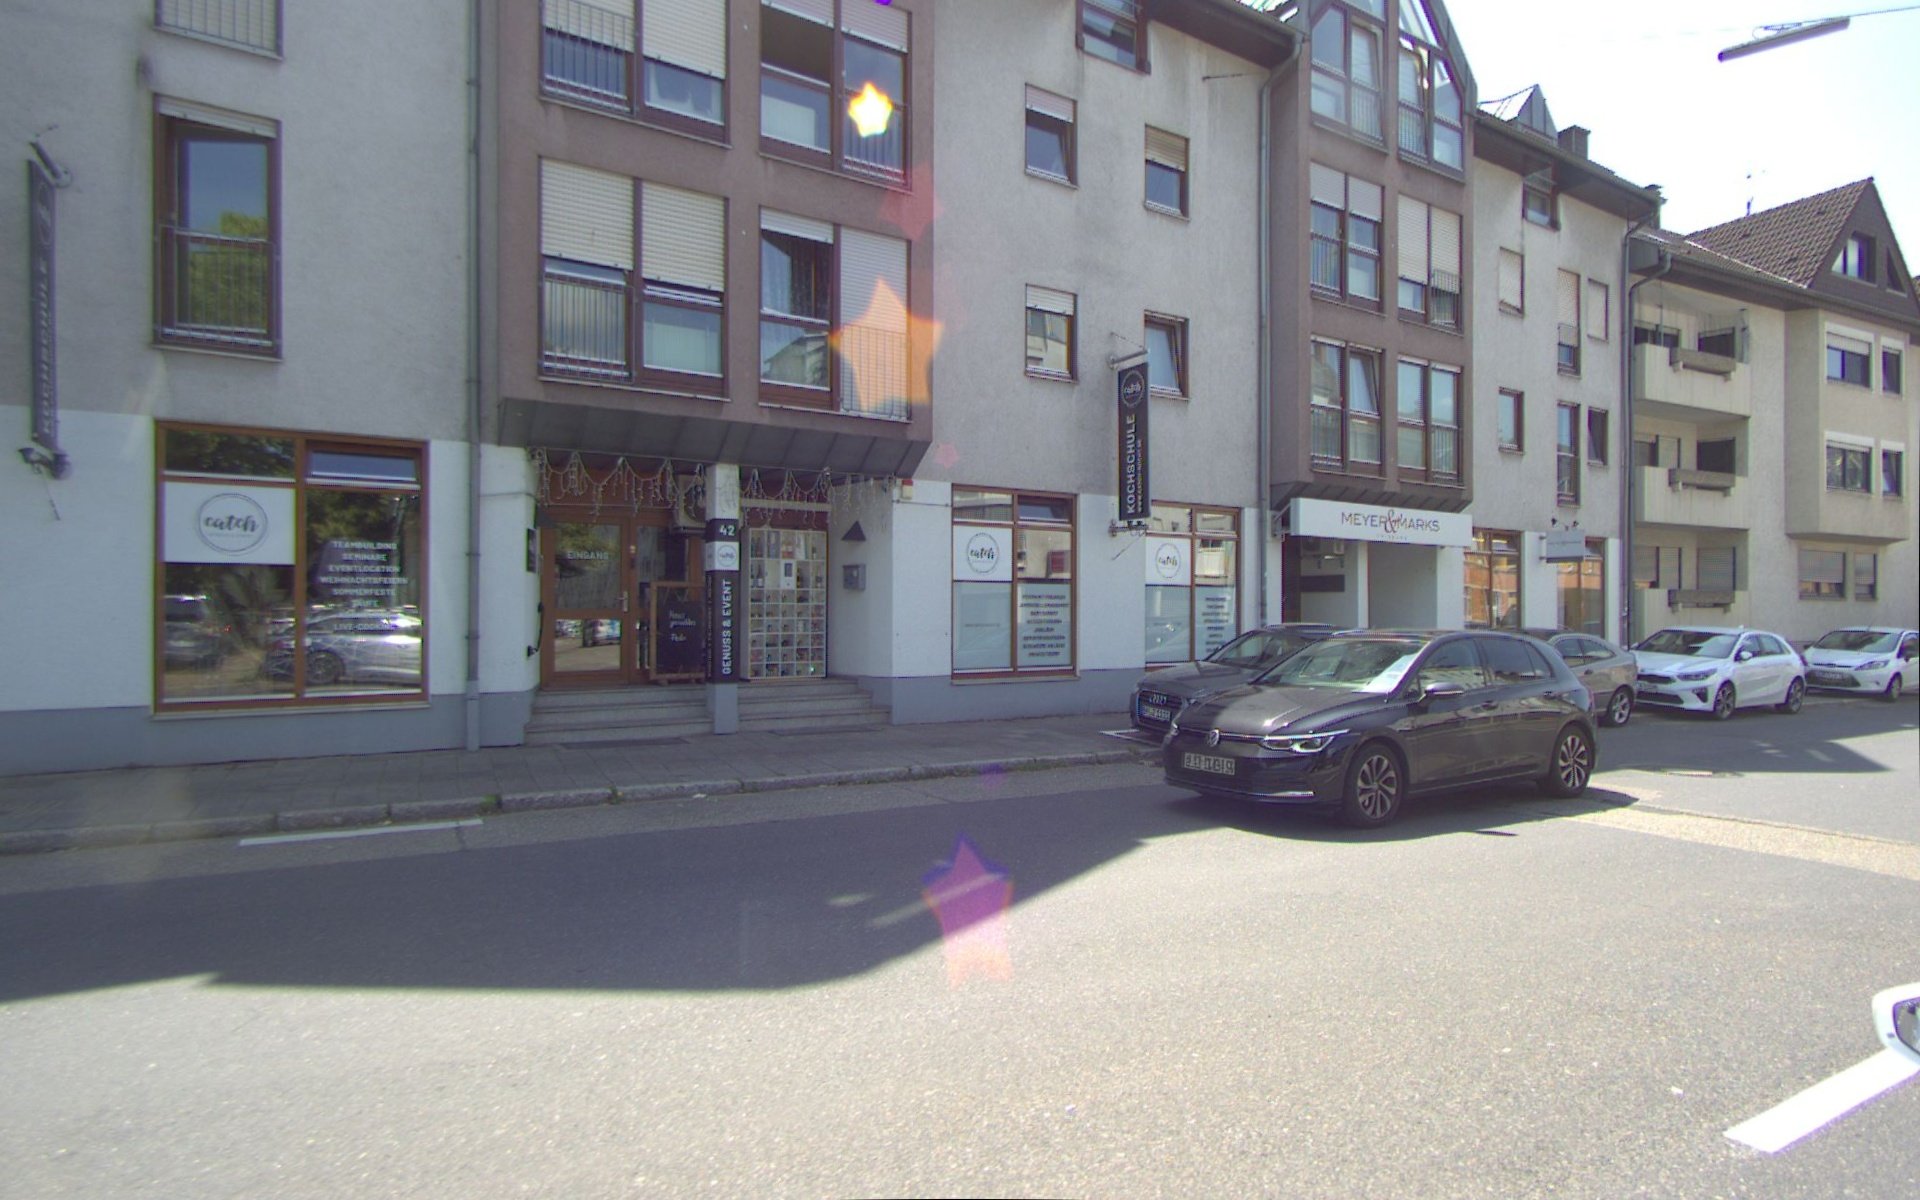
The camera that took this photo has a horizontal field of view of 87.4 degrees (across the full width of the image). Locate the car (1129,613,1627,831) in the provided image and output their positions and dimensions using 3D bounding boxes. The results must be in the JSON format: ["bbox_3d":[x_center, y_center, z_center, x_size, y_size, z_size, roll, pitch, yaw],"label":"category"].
[{"bbox_3d":[3.594,0.864,8.467,4.173,1.438,1.734,1,-2,-30],"label":"car"}]

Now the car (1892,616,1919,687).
[{"bbox_3d":[24.406,1.269,24.052,4.334,1.617,1.831,1,1,-30],"label":"car"}]

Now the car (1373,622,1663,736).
[{"bbox_3d":[8.419,1.101,15.088,4.275,1.402,1.831,1,1,-30],"label":"car"}]

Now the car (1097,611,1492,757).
[{"bbox_3d":[4.273,0.958,12.623,4.908,1.467,1.832,1,1,-29],"label":"car"}]

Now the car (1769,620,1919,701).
[{"bbox_3d":[19.562,1.250,21.661,4.334,1.509,1.831,1,1,-30],"label":"car"}]

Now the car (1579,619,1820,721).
[{"bbox_3d":[12.999,1.150,17.610,4.336,1.509,1.830,1,1,-31],"label":"car"}]
